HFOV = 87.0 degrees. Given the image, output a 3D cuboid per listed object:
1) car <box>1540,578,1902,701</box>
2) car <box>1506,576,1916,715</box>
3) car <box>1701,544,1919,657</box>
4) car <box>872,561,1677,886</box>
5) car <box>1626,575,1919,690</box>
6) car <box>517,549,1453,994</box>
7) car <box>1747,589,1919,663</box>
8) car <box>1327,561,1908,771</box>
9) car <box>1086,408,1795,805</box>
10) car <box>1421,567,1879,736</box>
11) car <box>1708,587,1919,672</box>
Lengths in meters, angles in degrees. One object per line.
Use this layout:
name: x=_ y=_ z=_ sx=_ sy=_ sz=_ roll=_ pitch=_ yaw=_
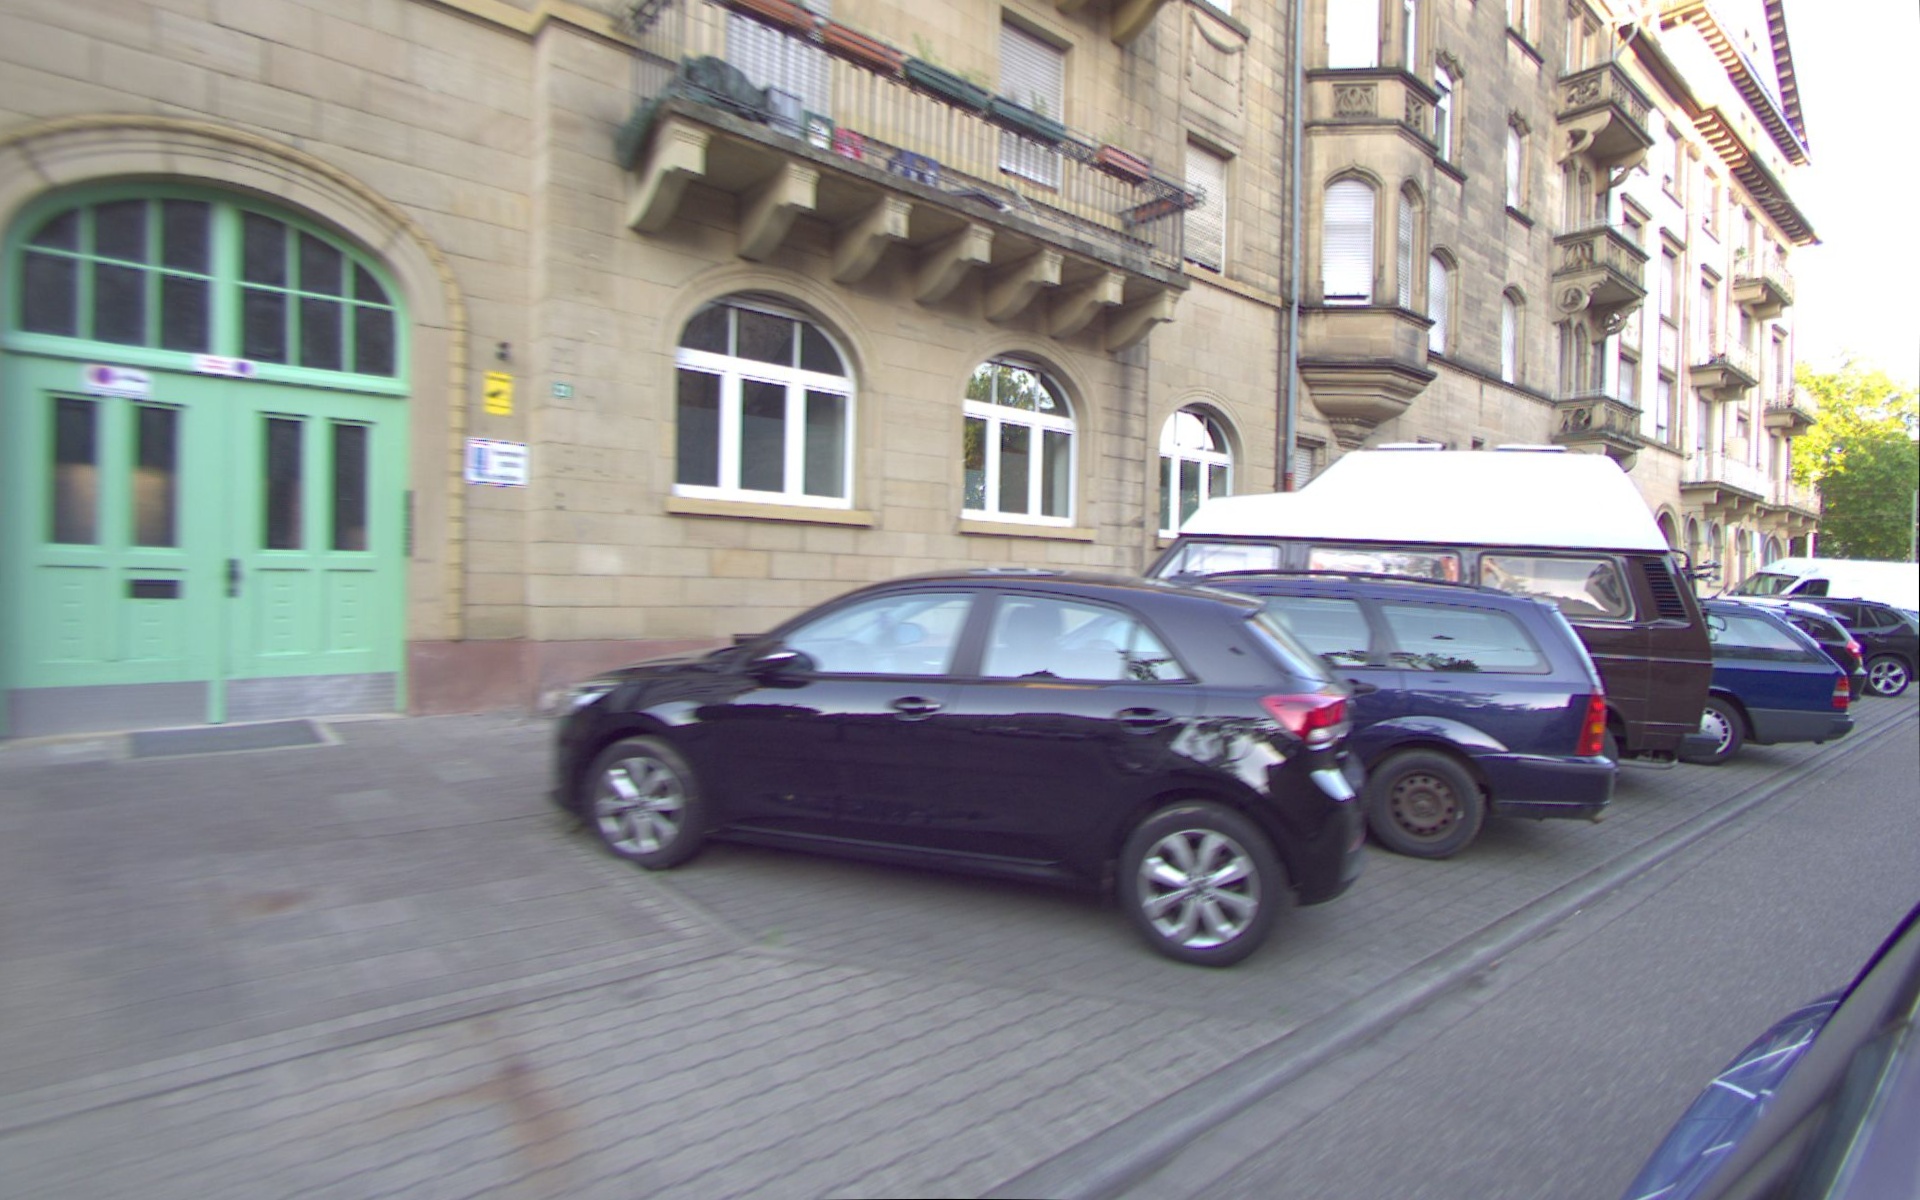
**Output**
car: x=11.538 y=0.526 z=15.670 sx=3.999 sy=1.516 sz=1.747 roll=3 pitch=3 yaw=15
car: x=9.945 y=0.522 z=13.804 sx=3.978 sy=1.449 sz=1.860 roll=4 pitch=3 yaw=16
car: x=22.489 y=-0.027 z=25.357 sx=5.788 sy=2.582 sz=2.192 roll=2 pitch=3 yaw=9
car: x=1.775 y=0.548 z=6.563 sx=4.306 sy=1.521 sz=1.899 roll=1 pitch=1 yaw=22
car: x=14.049 y=0.494 z=17.219 sx=4.036 sy=1.627 sz=1.811 roll=3 pitch=3 yaw=12
car: x=0.058 y=0.546 z=4.971 sx=4.017 sy=1.510 sz=1.713 roll=1 pitch=1 yaw=19
car: x=20.921 y=0.592 z=23.058 sx=4.188 sy=1.471 sz=1.994 roll=2 pitch=2 yaw=12
car: x=5.963 y=0.490 z=9.901 sx=4.344 sy=1.504 sz=1.832 roll=4 pitch=3 yaw=20
car: x=3.544 y=-0.025 z=8.318 sx=4.668 sy=2.578 sz=1.905 roll=1 pitch=1 yaw=21
car: x=7.761 y=0.475 z=11.928 sx=4.074 sy=1.564 sz=1.783 roll=3 pitch=4 yaw=22
car: x=18.421 y=0.598 z=21.228 sx=3.854 sy=1.463 sz=1.871 roll=3 pitch=4 yaw=10
